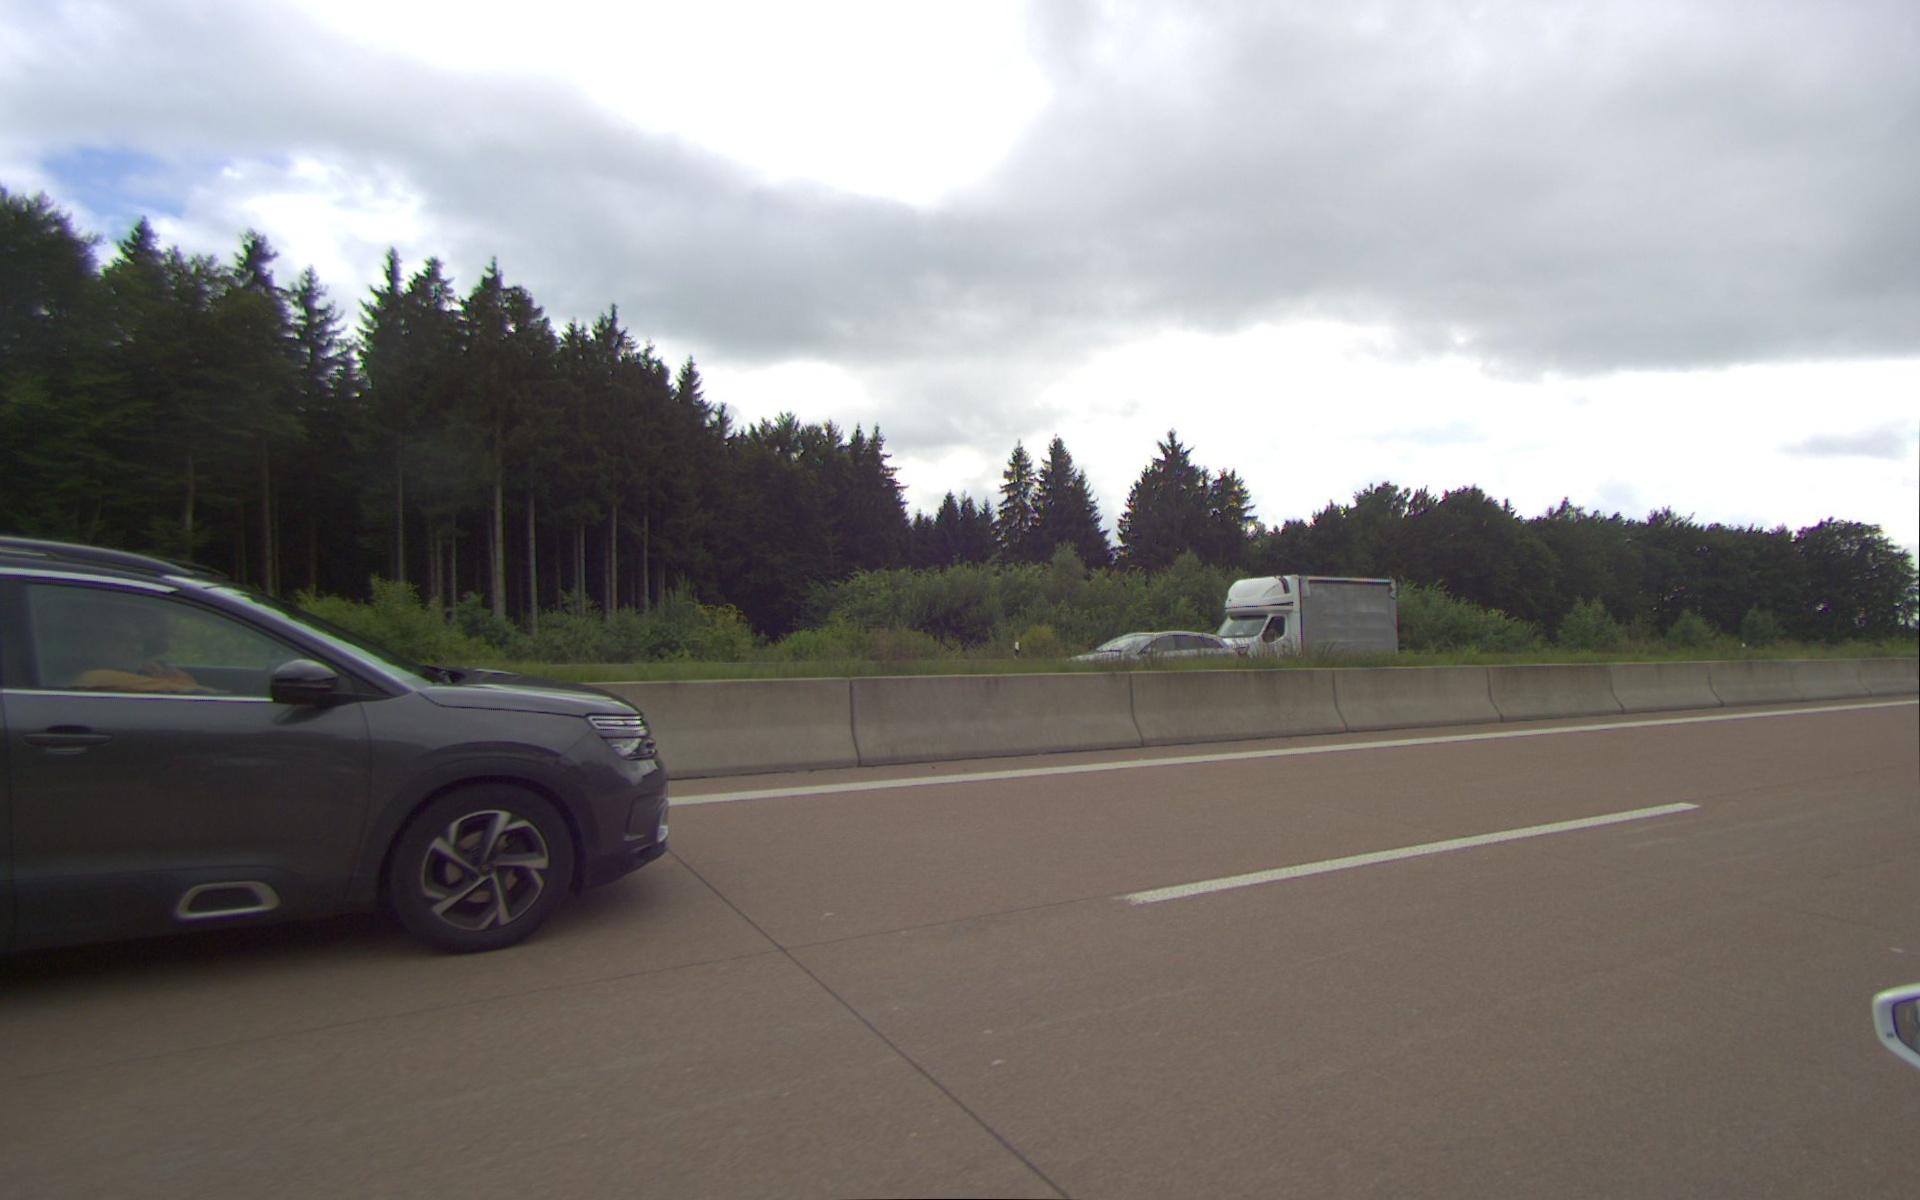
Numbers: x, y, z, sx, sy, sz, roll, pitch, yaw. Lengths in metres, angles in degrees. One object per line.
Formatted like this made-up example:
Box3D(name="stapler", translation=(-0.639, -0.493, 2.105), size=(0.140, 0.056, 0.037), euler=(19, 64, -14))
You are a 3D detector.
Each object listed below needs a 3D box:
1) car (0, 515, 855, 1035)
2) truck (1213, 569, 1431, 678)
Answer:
Box3D(name="car", translation=(-3.247, 0.587, 4.432), size=(5.191, 1.721, 1.984), euler=(1, 0, -31))
Box3D(name="truck", translation=(11.670, 0.733, 32.121), size=(7.395, 3.141, 2.345), euler=(1, 1, -31))
